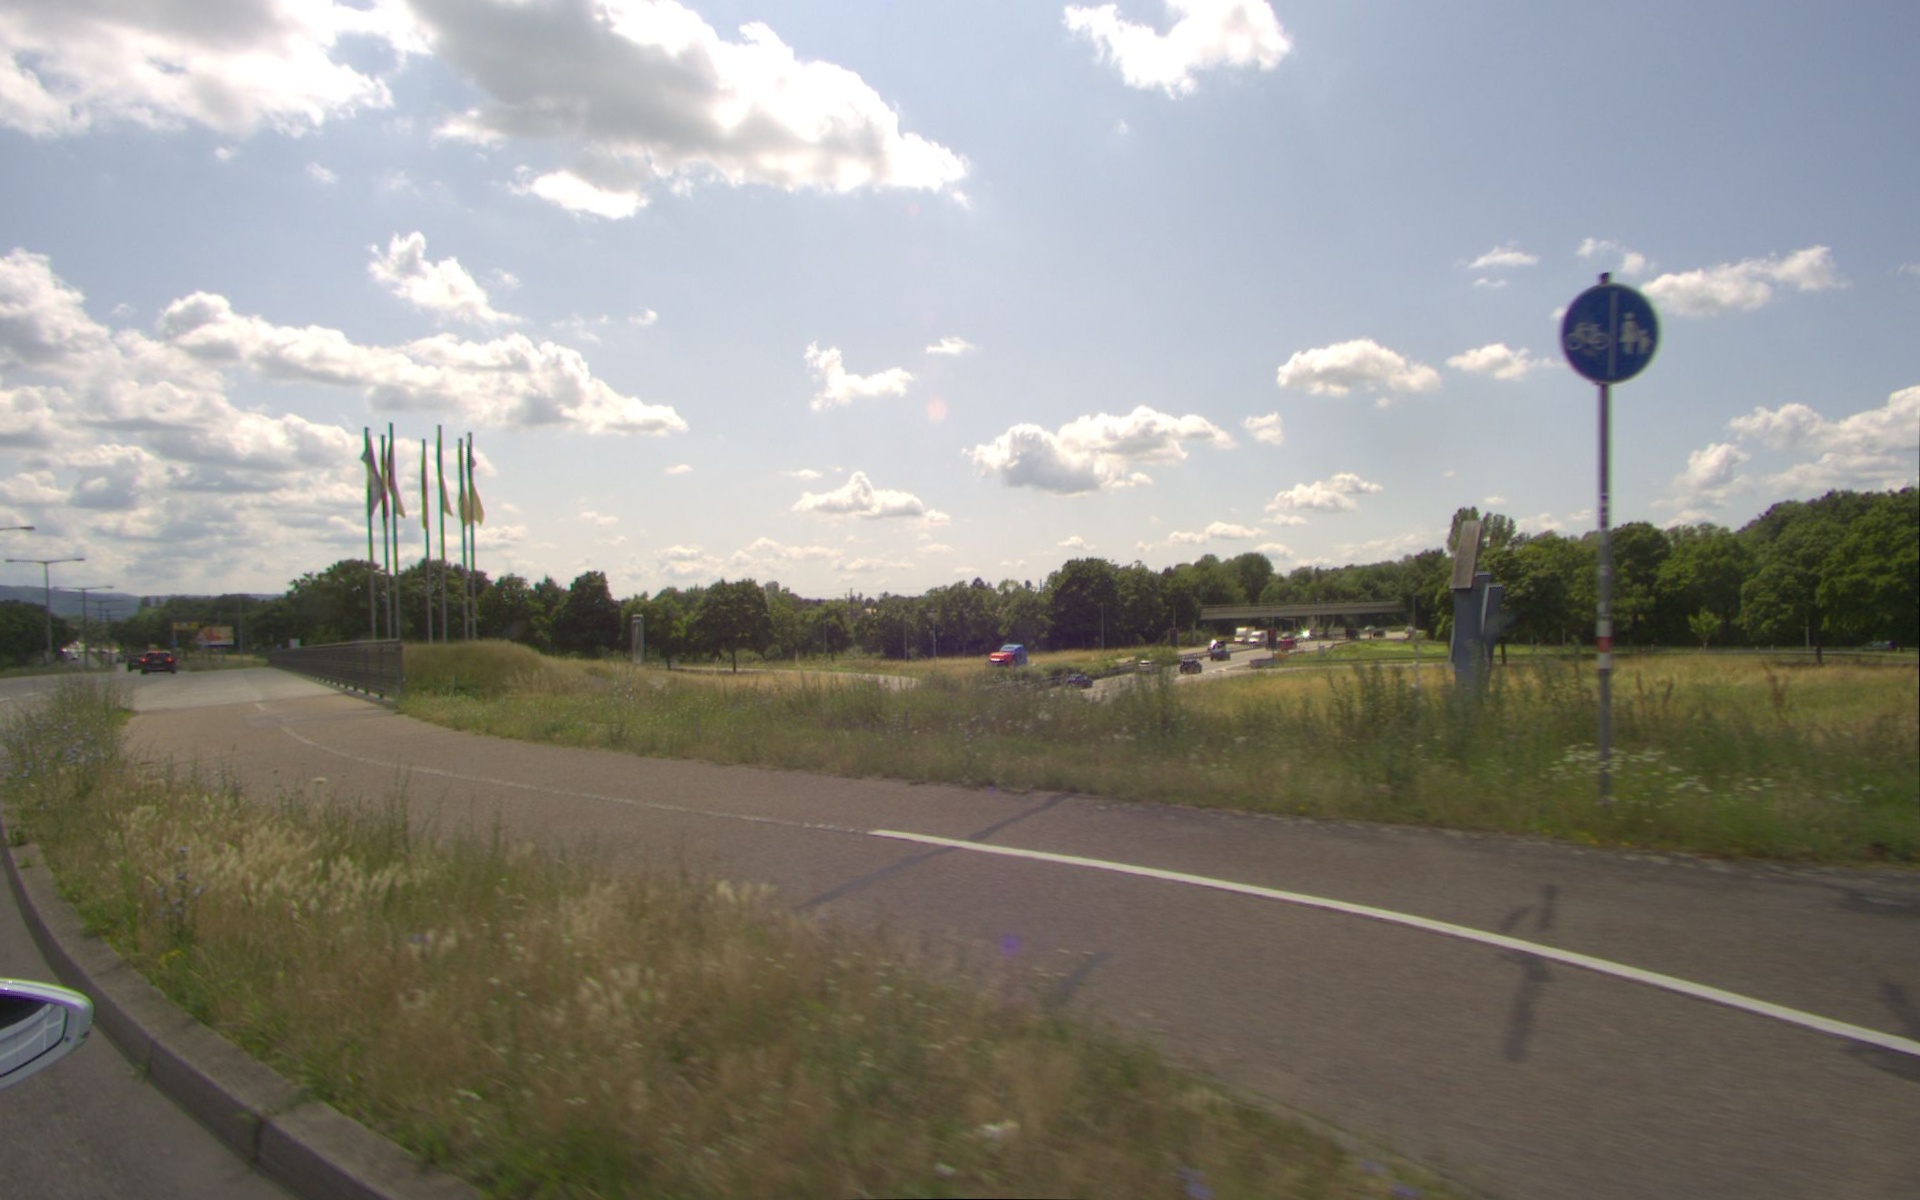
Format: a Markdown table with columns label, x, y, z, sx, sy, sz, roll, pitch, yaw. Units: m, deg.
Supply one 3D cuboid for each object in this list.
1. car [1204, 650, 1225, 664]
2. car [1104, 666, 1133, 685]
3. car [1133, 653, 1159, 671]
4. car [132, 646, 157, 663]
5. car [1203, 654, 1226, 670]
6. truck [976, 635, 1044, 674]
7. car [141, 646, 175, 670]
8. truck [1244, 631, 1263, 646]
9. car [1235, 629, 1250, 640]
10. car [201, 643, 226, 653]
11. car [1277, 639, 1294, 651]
| label | x | y | z | sx | sy | sz | roll | pitch | yaw |
| --- | --- | --- | --- | --- | --- | --- | --- | --- | --- |
| car | 37.317 | 8.362 | 146.797 | 1.970 | 2.039 | 3.983 | -1 | -2 | 30 |
| car | 18.184 | 8.641 | 114.806 | 1.970 | 2.039 | 3.983 | -1 | -2 | 30 |
| car | 23.175 | 7.727 | 124.717 | 1.970 | 2.039 | 3.983 | -1 | -2 | 30 |
| car | -85.467 | 5.701 | 104.954 | 1.978 | 1.683 | 3.967 | 1 | -2 | -40 |
| car | 33.632 | 8.142 | 132.231 | 1.970 | 2.039 | 3.983 | -1 | -2 | 30 |
| truck | 6.139 | 6.521 | 121.074 | 3.960 | 4.459 | 9.584 | -1 | -2 | 32 |
| car | -61.910 | 4.446 | 77.278 | 1.978 | 1.683 | 3.967 | 1 | -2 | -40 |
| truck | 55.246 | 7.294 | 188.358 | 1.970 | 2.736 | 6.590 | -1 | -2 | 30 |
| car | 54.791 | 6.672 | 193.970 | 1.970 | 2.039 | 3.983 | -1 | -2 | 30 |
| car | -122.255 | 7.832 | 164.024 | 3.941 | 1.683 | 1.991 | -1 | -2 | 31 |
| car | 53.423 | 7.353 | 164.317 | 1.970 | 2.039 | 3.983 | -1 | -2 | 30 |
